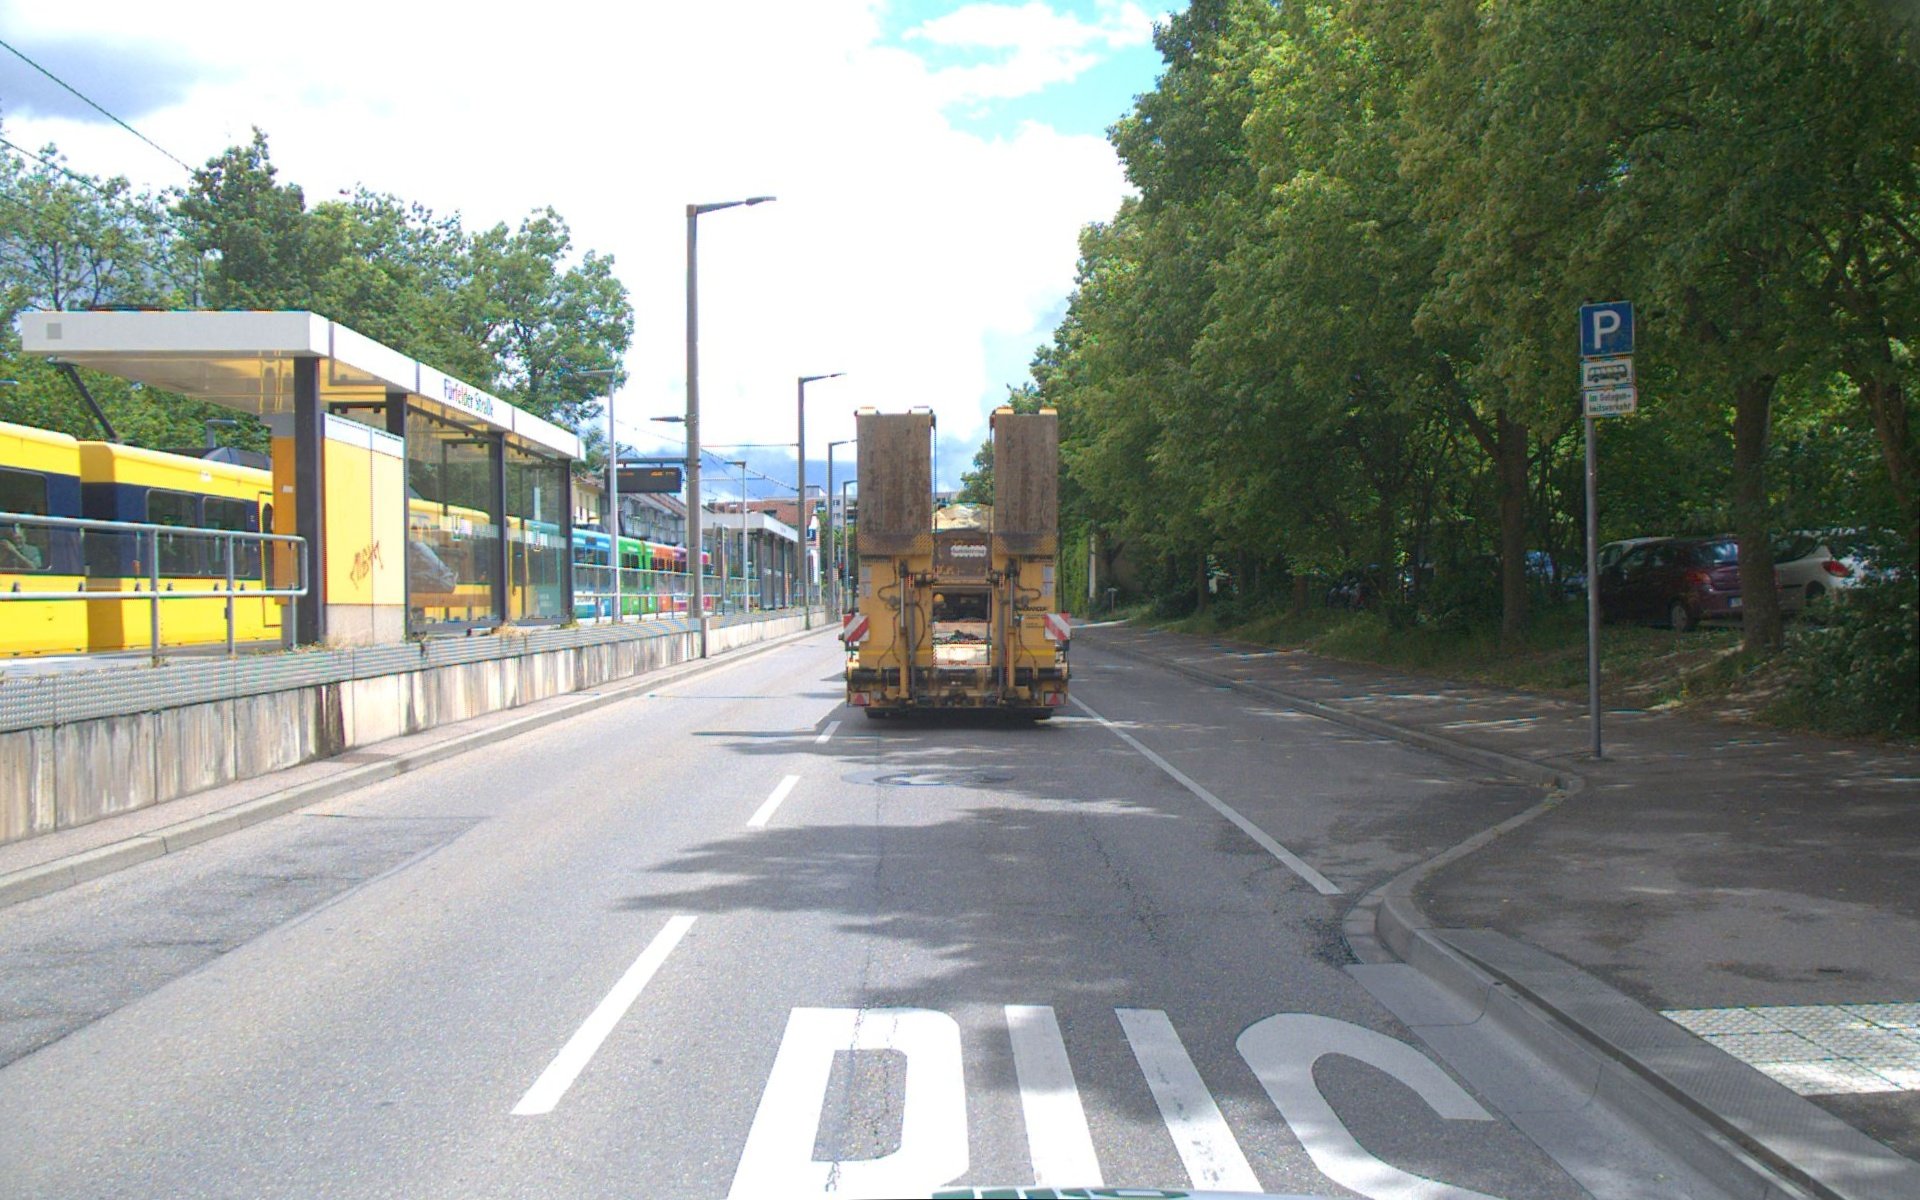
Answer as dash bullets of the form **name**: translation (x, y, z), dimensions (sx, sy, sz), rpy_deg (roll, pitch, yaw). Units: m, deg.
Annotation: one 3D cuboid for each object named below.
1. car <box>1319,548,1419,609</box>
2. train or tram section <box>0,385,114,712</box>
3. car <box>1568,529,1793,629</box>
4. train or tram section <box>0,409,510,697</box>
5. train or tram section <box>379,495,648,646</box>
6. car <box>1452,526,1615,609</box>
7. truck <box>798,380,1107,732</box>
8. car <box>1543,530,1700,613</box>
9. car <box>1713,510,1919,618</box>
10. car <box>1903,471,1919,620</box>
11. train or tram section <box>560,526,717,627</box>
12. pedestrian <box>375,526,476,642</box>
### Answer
- **car**: translation (11.451, -0.576, 46.555), dimensions (1.680, 1.534, 4.159), rpy_deg (-4, 0, 0)
- **train or tram section**: translation (-11.749, -0.529, 10.841), dimensions (3.045, 3.525, 18.822), rpy_deg (1, 0, -1)
- **car**: translation (11.651, -0.328, 27.023), dimensions (1.579, 1.438, 3.812), rpy_deg (-3, 1, -8)
- **train or tram section**: translation (-12.075, -0.643, 29.762), dimensions (3.045, 3.525, 18.992), rpy_deg (1, 0, -1)
- **train or tram section**: translation (-12.394, -0.758, 48.840), dimensions (3.045, 3.525, 19.194), rpy_deg (1, 0, -1)
- **car**: translation (11.469, -0.627, 33.344), dimensions (1.761, 1.489, 3.988), rpy_deg (-3, 0, -1)
- **truck**: translation (-0.464, -0.539, 24.933), dimensions (3.335, 3.797, 13.729), rpy_deg (-1, 0, -3)
- **car**: translation (13.995, -0.576, 35.221), dimensions (1.601, 1.594, 3.988), rpy_deg (-3, 0, -1)
- **car**: translation (14.057, -0.567, 27.170), dimensions (1.658, 1.534, 3.622), rpy_deg (-4, 0, 0)
- **car**: translation (11.824, -0.612, 16.760), dimensions (1.809, 1.691, 4.723), rpy_deg (-1, 0, -1)
- **train or tram section**: translation (-12.747, -0.874, 67.986), dimensions (3.045, 3.525, 19.085), rpy_deg (1, 0, -1)
- **pedestrian**: translation (-5.835, -0.172, 18.093), dimensions (0.779, 1.207, 0.919), rpy_deg (-3, 0, -2)
